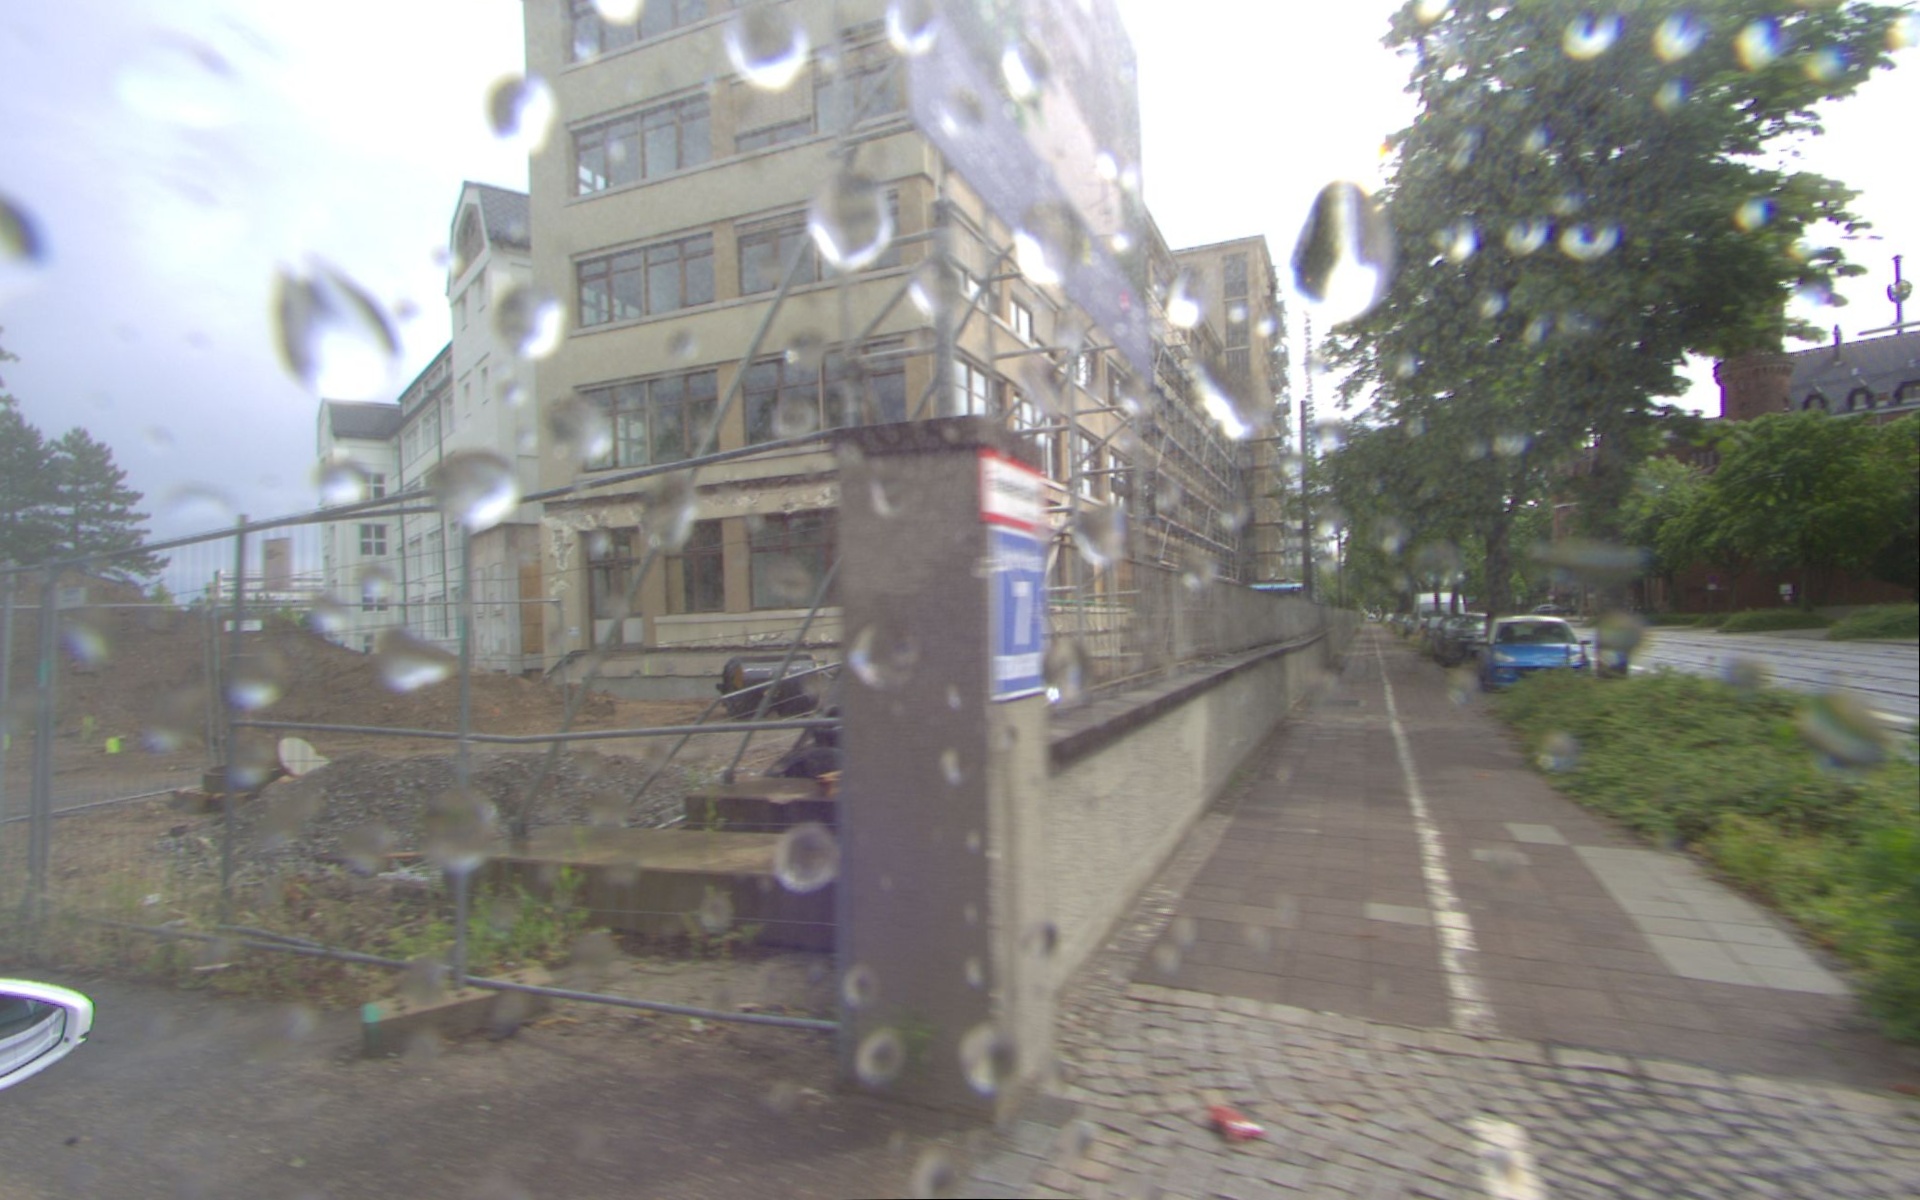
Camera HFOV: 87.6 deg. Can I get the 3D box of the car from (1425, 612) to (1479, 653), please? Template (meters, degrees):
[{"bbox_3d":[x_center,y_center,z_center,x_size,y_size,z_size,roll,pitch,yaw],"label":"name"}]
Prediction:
[{"bbox_3d":[19.025,1.235,38.668,1.790,1.489,4.057,-1,-1,27],"label":"car"}]

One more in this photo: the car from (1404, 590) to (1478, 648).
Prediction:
[{"bbox_3d":[22.324,0.940,46.748,2.552,2.505,6.141,-1,-2,21],"label":"car"}]

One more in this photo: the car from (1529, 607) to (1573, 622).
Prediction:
[{"bbox_3d":[69.236,1.663,117.377,4.231,1.673,1.993,-1,-2,28],"label":"car"}]

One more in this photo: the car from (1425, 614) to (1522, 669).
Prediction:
[{"bbox_3d":[14.980,1.201,29.419,1.856,1.489,3.995,-1,-2,18],"label":"car"}]

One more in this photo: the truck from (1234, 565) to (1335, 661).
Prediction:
[{"bbox_3d":[14.028,0.656,42.704,3.189,3.572,9.886,-1,-2,23],"label":"truck"}]

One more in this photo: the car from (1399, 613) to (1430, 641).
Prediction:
[{"bbox_3d":[30.237,1.821,66.633,1.834,1.764,3.989,-1,-2,25],"label":"car"}]

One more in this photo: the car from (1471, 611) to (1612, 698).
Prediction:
[{"bbox_3d":[11.079,1.000,19.342,1.859,1.489,3.990,-1,-2,23],"label":"car"}]
